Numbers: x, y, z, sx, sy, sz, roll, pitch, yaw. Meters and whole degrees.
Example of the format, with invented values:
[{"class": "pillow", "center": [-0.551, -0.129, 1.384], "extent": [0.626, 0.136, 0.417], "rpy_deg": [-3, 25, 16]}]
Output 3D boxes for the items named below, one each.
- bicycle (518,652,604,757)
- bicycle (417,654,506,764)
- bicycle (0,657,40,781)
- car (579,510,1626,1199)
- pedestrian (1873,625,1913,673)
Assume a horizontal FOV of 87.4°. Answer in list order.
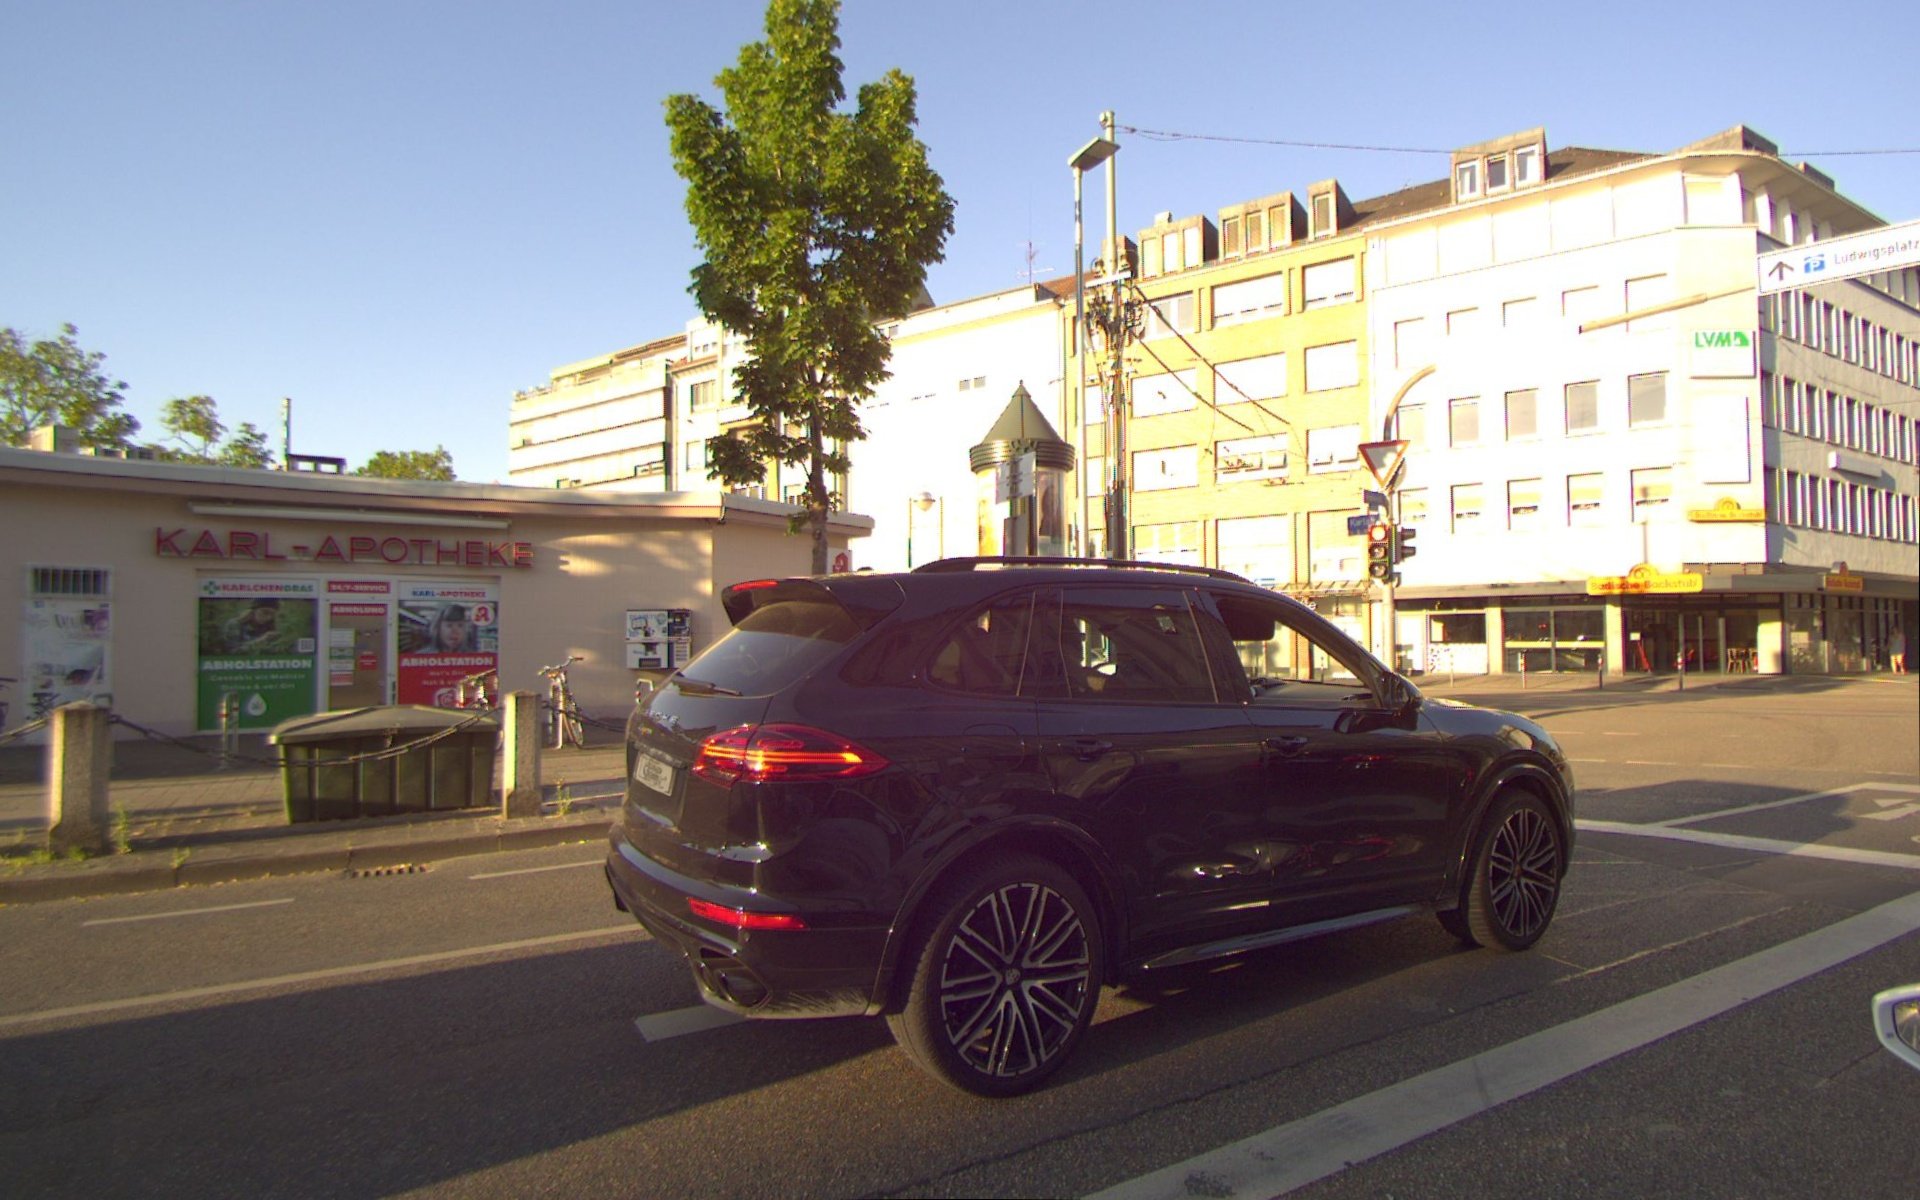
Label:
[{"class": "bicycle", "center": [-5.397, 1.334, 13.486], "extent": [0.778, 1.273, 2.433], "rpy_deg": [1, -3, -29]}, {"class": "bicycle", "center": [-6.451, 1.348, 12.945], "extent": [0.938, 1.273, 1.997], "rpy_deg": [1, -3, -29]}, {"class": "bicycle", "center": [-10.339, 1.240, 10.495], "extent": [0.625, 1.273, 1.846], "rpy_deg": [1, -3, -29]}, {"class": "car", "center": [0.817, 0.711, 4.562], "extent": [4.510, 1.736, 1.939], "rpy_deg": [1, -3, -32]}, {"class": "pedestrian", "center": [33.590, 1.745, 36.156], "extent": [0.862, 1.698, 0.819], "rpy_deg": [1, -3, -32]}]
